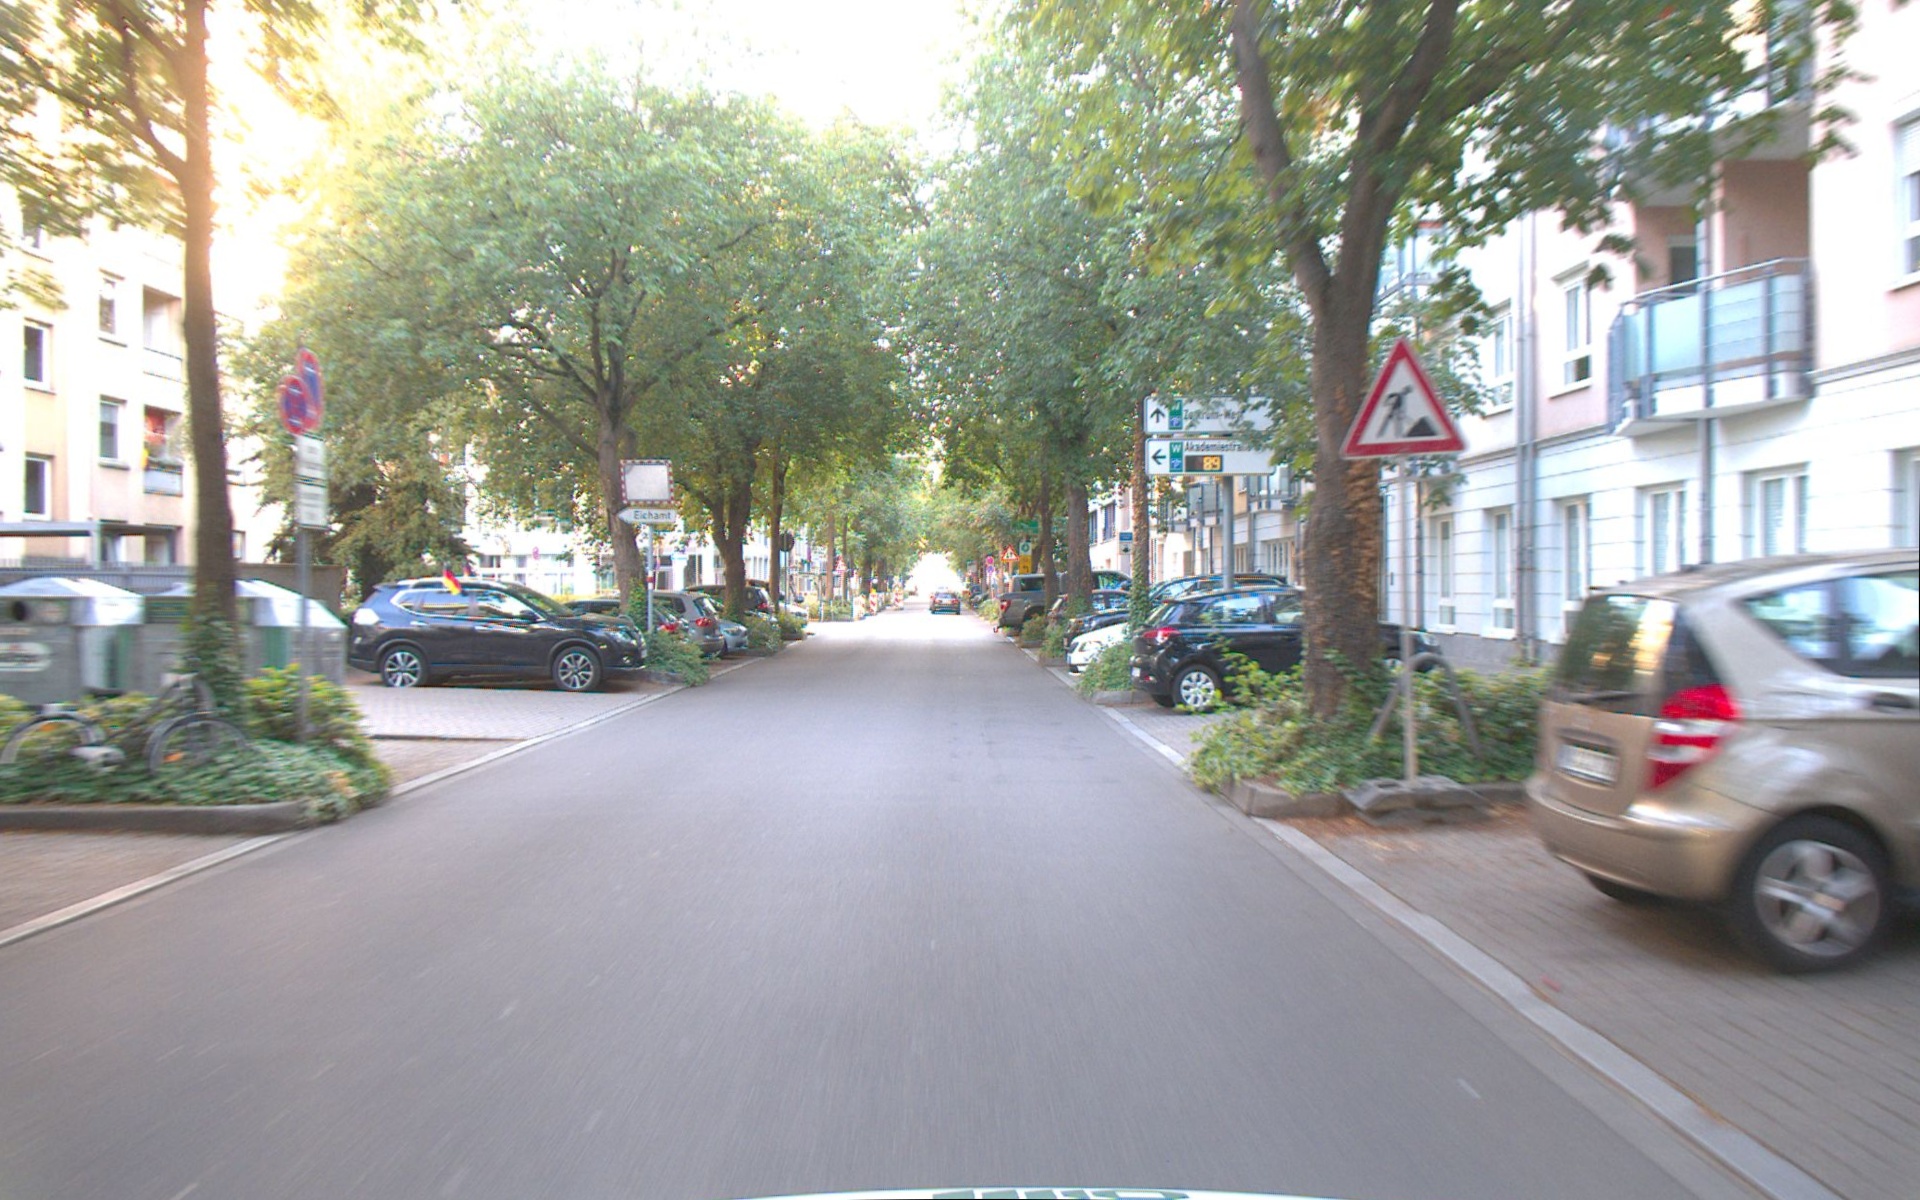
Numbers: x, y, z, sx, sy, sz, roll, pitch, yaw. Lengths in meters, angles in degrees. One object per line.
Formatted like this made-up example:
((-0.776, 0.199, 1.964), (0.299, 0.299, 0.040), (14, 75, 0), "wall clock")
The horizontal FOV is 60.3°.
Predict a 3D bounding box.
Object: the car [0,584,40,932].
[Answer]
((-6.413, 0.738, 7.097), (3.906, 1.619, 1.788), (0, 0, -1), "car")

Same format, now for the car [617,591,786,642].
((-7.407, 0.471, 47.799), (4.621, 1.449, 2.070), (0, 0, -3), "car")

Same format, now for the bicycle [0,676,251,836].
((-5.624, 1.028, 11.159), (1.536, 0.953, 0.481), (-1, 0, -24), "bicycle")

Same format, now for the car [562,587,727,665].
((-6.917, 0.556, 36.462), (3.337, 1.637, 1.760), (0, 0, -3), "car")

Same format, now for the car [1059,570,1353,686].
((3.973, 0.441, 27.224), (4.480, 1.579, 1.772), (-3, 0, -2), "car")

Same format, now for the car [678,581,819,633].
((-6.989, 0.229, 55.002), (4.406, 1.609, 2.055), (1, 0, 0), "car")

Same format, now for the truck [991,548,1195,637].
((4.000, -0.232, 50.570), (5.884, 2.169, 2.260), (-5, 0, -1), "truck")

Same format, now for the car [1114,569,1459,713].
((4.114, 0.486, 21.245), (3.910, 1.500, 1.912), (-4, 0, -5), "car")

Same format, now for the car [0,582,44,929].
((-6.403, 0.739, 7.081), (3.907, 1.616, 1.827), (0, 0, -3), "car")

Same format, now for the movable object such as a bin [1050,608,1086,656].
((2.487, 0.740, 38.168), (0.759, 1.086, 0.589), (0, 0, -2), "movable object such as a bin")

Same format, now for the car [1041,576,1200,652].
((3.926, 0.347, 40.873), (3.592, 1.575, 1.779), (-4, -1, -3), "car")

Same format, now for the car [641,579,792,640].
((-7.305, 0.285, 50.032), (4.308, 1.714, 2.063), (1, 0, -3), "car")

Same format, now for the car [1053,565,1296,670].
((4.163, 0.325, 32.428), (4.303, 1.733, 1.892), (-3, 0, -9), "car")

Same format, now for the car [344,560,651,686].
((-7.277, 0.351, 26.383), (4.328, 1.925, 1.999), (0, 0, -2), "car")

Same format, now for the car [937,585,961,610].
((-0.690, -0.169, 102.815), (1.470, 1.441, 3.713), (-1, 0, -1), "car")

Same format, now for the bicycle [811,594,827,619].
((-6.602, 0.306, 77.473), (0.589, 1.137, 1.799), (-1, 1, -1), "bicycle")

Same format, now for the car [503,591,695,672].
((-6.838, 0.576, 31.571), (3.337, 1.467, 1.593), (0, 0, -3), "car")

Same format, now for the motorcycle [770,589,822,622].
((-7.404, 0.246, 74.797), (2.358, 1.466, 0.790), (-1, 0, -41), "motorcycle")

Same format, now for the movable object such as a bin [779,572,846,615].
((-8.233, -0.369, 92.837), (3.592, 2.373, 2.582), (-1, 0, -3), "movable object such as a bin")

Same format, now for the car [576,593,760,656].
((-6.772, 0.560, 38.695), (4.018, 1.403, 1.746), (1, 0, -3), "car")

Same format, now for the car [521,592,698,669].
((-7.208, 0.608, 34.261), (3.337, 1.533, 1.663), (0, 0, -3), "car")

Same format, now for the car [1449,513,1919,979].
((4.358, 0.474, 7.247), (3.784, 1.696, 1.925), (-3, 0, -1), "car")

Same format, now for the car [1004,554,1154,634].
((3.765, -0.195, 53.137), (4.527, 2.170, 2.036), (-4, 0, -1), "car")
